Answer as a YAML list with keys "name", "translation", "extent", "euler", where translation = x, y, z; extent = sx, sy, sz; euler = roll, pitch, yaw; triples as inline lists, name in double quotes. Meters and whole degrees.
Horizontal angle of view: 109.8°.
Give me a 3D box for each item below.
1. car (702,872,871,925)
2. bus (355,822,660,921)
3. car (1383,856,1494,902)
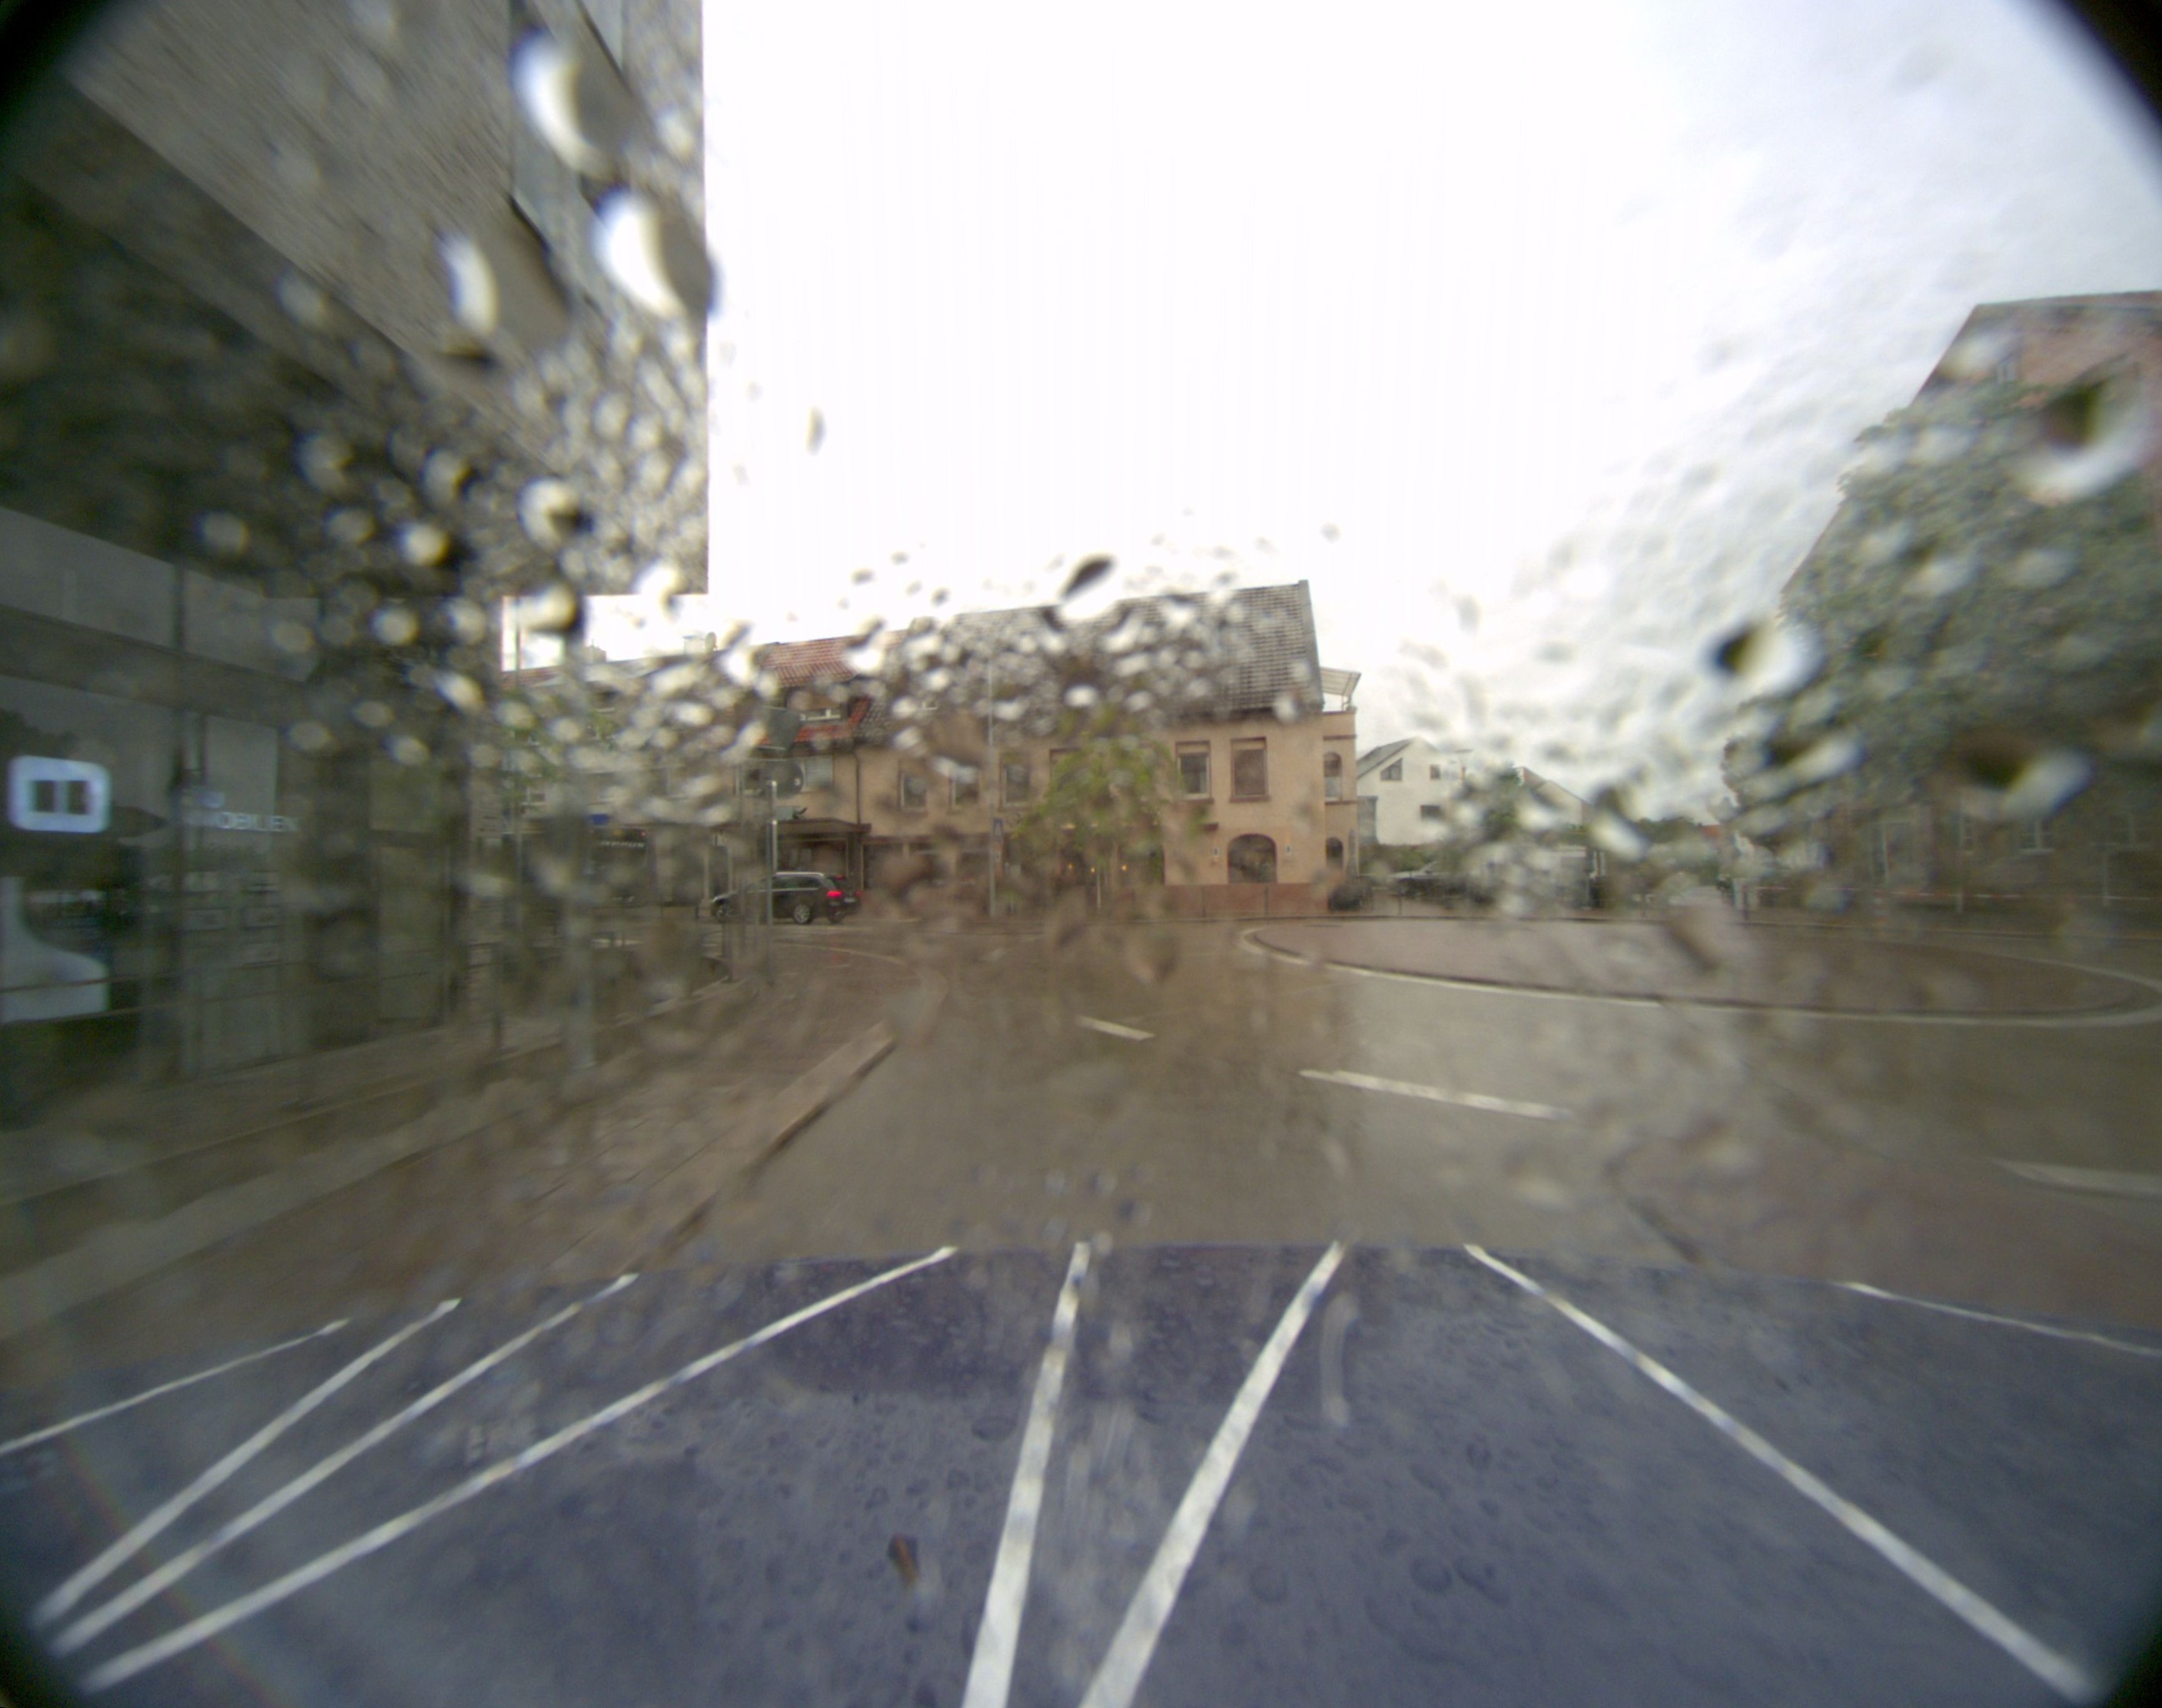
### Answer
- name: "car"
  translation: [-8.503, 1.278, 21.987]
  extent: [4.460, 1.421, 1.673]
  euler: [-1, -2, 16]
- name: "bus"
  translation: [-20.092, 0.591, 26.493]
  extent: [10.922, 3.061, 2.737]
  euler: [0, -1, 18]
- name: "car"
  translation: [16.462, 1.119, 35.285]
  extent: [4.478, 2.002, 2.003]
  euler: [1, 0, 20]
